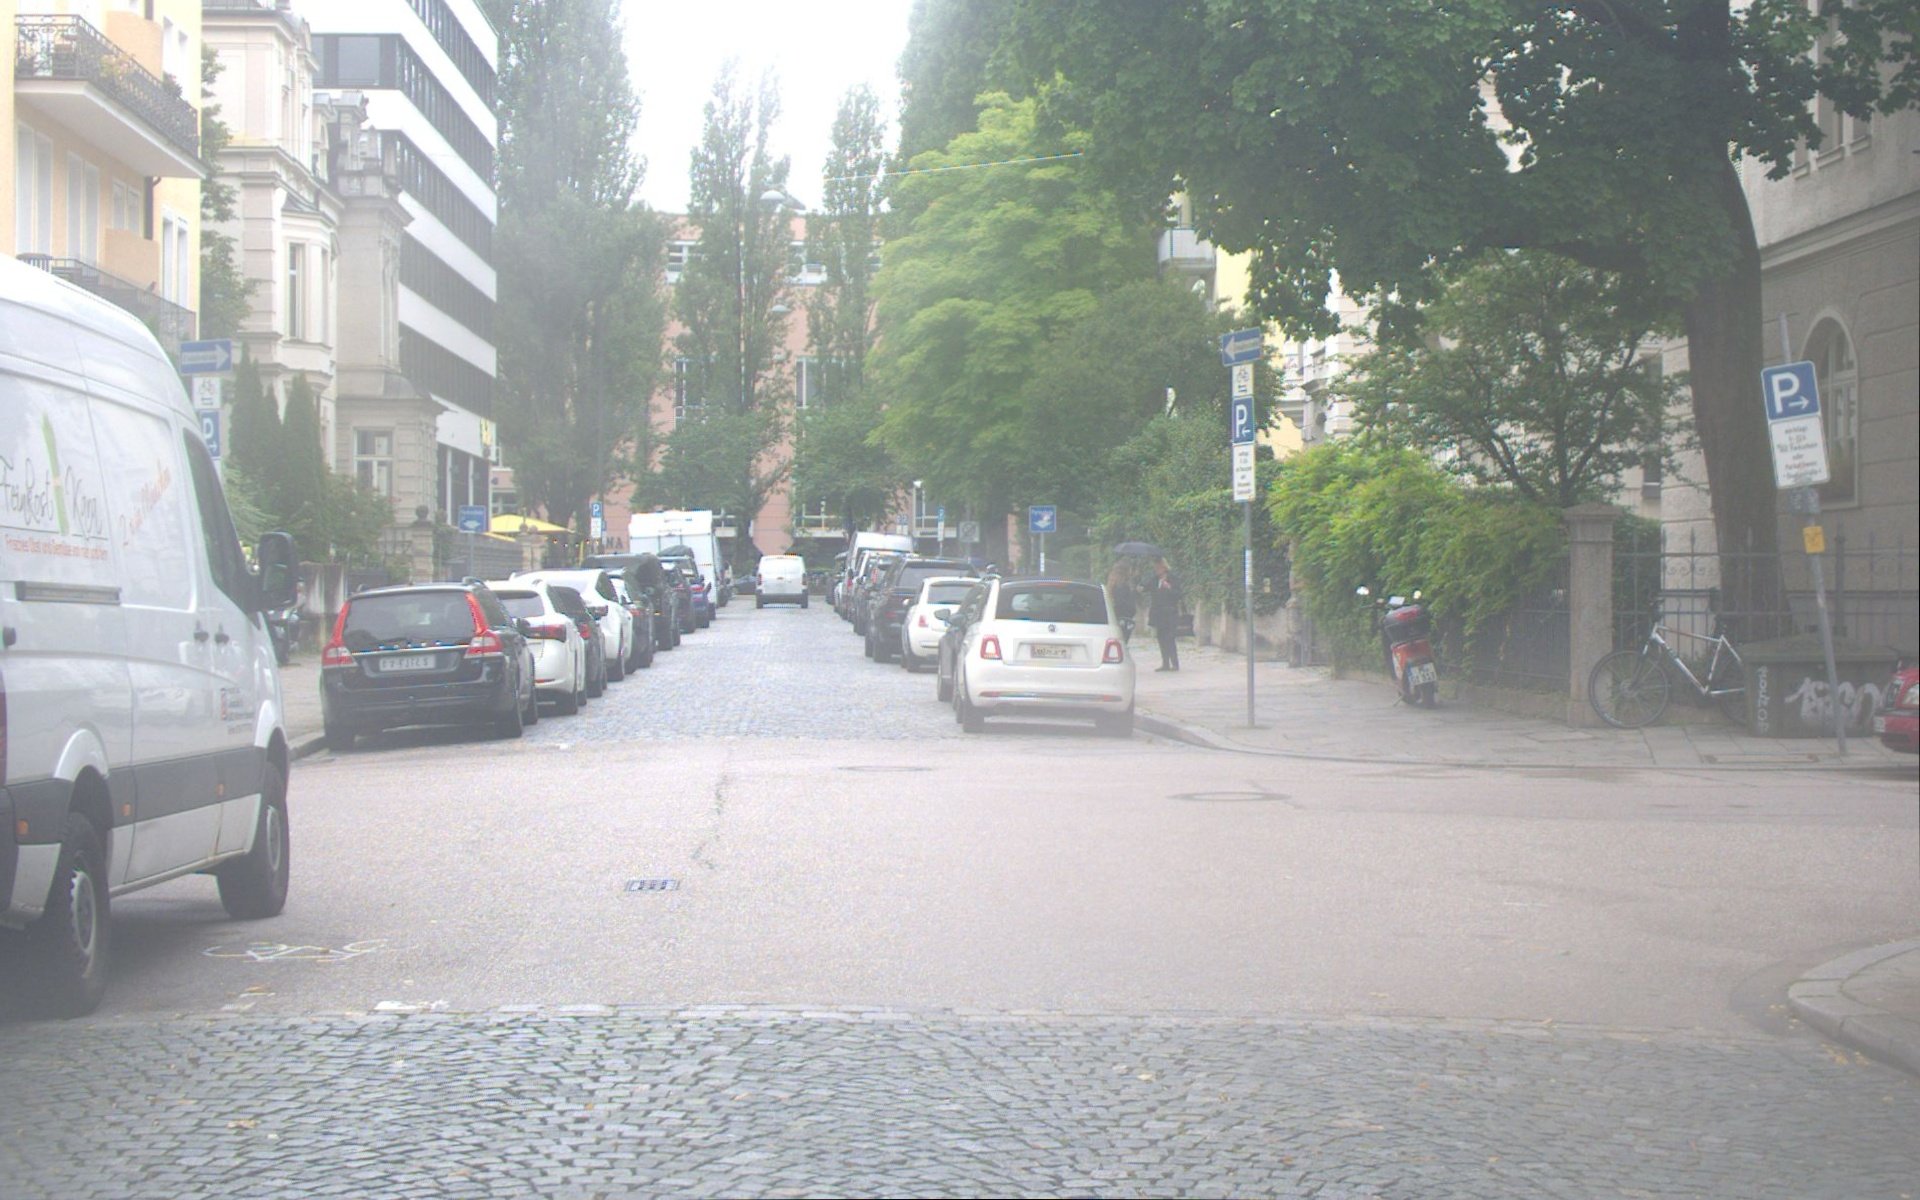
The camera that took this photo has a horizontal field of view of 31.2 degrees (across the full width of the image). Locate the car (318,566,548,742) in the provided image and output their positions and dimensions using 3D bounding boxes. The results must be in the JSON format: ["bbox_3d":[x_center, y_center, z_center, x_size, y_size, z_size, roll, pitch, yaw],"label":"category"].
[{"bbox_3d":[-5.066,0.491,33.578,1.852,1.581,4.749,1,0,-4],"label":"car"}]

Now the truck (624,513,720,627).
[{"bbox_3d":[-8.058,-0.857,96.709,2.508,3.021,6.385,-2,1,-4],"label":"truck"}]

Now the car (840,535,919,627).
[{"bbox_3d":[-2.341,-0.581,98.412,1.895,2.418,5.612,4,1,-4],"label":"car"}]

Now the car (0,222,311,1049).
[{"bbox_3d":[-4.007,0.118,13.132,1.977,2.565,5.794,-2,0,-1],"label":"car"}]

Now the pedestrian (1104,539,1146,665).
[{"bbox_3d":[2.438,0.022,50.701,0.576,1.844,0.681,1,0,5],"label":"pedestrian"}]

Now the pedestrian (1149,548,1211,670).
[{"bbox_3d":[3.264,0.135,50.976,0.628,1.802,0.660,1,0,-36],"label":"pedestrian"}]

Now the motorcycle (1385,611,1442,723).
[{"bbox_3d":[4.536,0.661,34.432,0.362,1.086,1.403,1,0,0],"label":"motorcycle"}]

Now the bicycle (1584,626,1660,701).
[{"bbox_3d":[7.588,0.718,39.470,0.491,0.809,2.273,1,0,1],"label":"bicycle"}]

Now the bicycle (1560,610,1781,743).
[{"bbox_3d":[6.203,0.663,30.070,1.838,1.120,0.562,1,0,7],"label":"bicycle"}]

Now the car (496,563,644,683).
[{"bbox_3d":[-5.600,0.321,49.759,1.773,1.642,4.391,1,0,-2],"label":"car"}]

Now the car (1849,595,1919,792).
[{"bbox_3d":[8.788,0.646,24.593,4.468,1.353,1.760,0,0,5],"label":"car"}]

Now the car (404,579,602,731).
[{"bbox_3d":[-5.038,0.573,38.387,1.773,1.531,4.541,-2,0,-3],"label":"car"}]

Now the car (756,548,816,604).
[{"bbox_3d":[-6.056,-0.832,119.973,1.996,1.929,4.000,0,0,-1],"label":"car"}]

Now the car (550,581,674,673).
[{"bbox_3d":[-5.641,0.423,56.108,1.773,1.424,4.391,1,0,-3],"label":"car"}]

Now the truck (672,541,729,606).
[{"bbox_3d":[-9.478,-0.948,125.800,1.993,2.339,4.068,1,0,-3],"label":"truck"}]

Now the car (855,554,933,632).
[{"bbox_3d":[-1.818,-0.192,92.926,1.800,1.943,4.861,3,0,-4],"label":"car"}]

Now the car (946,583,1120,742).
[{"bbox_3d":[0.666,0.575,33.559,1.502,1.466,3.795,0,0,-2],"label":"car"}]

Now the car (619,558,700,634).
[{"bbox_3d":[-6.994,-0.089,80.340,1.773,1.712,4.391,1,0,-4],"label":"car"}]

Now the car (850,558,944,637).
[{"bbox_3d":[-1.489,-0.066,79.722,1.963,1.753,4.955,1,0,-4],"label":"car"}]

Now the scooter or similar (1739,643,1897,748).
[{"bbox_3d":[7.260,0.801,29.134,1.183,0.845,0.924,1,0,7],"label":"scooter or similar"}]

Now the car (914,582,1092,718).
[{"bbox_3d":[0.454,0.556,40.596,1.648,1.417,4.633,4,0,-4],"label":"car"}]

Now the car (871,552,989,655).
[{"bbox_3d":[-0.564,0.067,59.300,1.875,1.667,5.491,1,0,-2],"label":"car"}]

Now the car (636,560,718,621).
[{"bbox_3d":[-7.023,-0.238,85.614,1.939,1.454,4.058,1,0,-4],"label":"car"}]

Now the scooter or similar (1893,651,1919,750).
[{"bbox_3d":[8.626,0.856,29.257,1.237,0.823,0.696,1,0,7],"label":"scooter or similar"}]

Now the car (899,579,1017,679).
[{"bbox_3d":[-0.064,0.443,54.307,1.630,1.464,3.659,2,0,-3],"label":"car"}]
